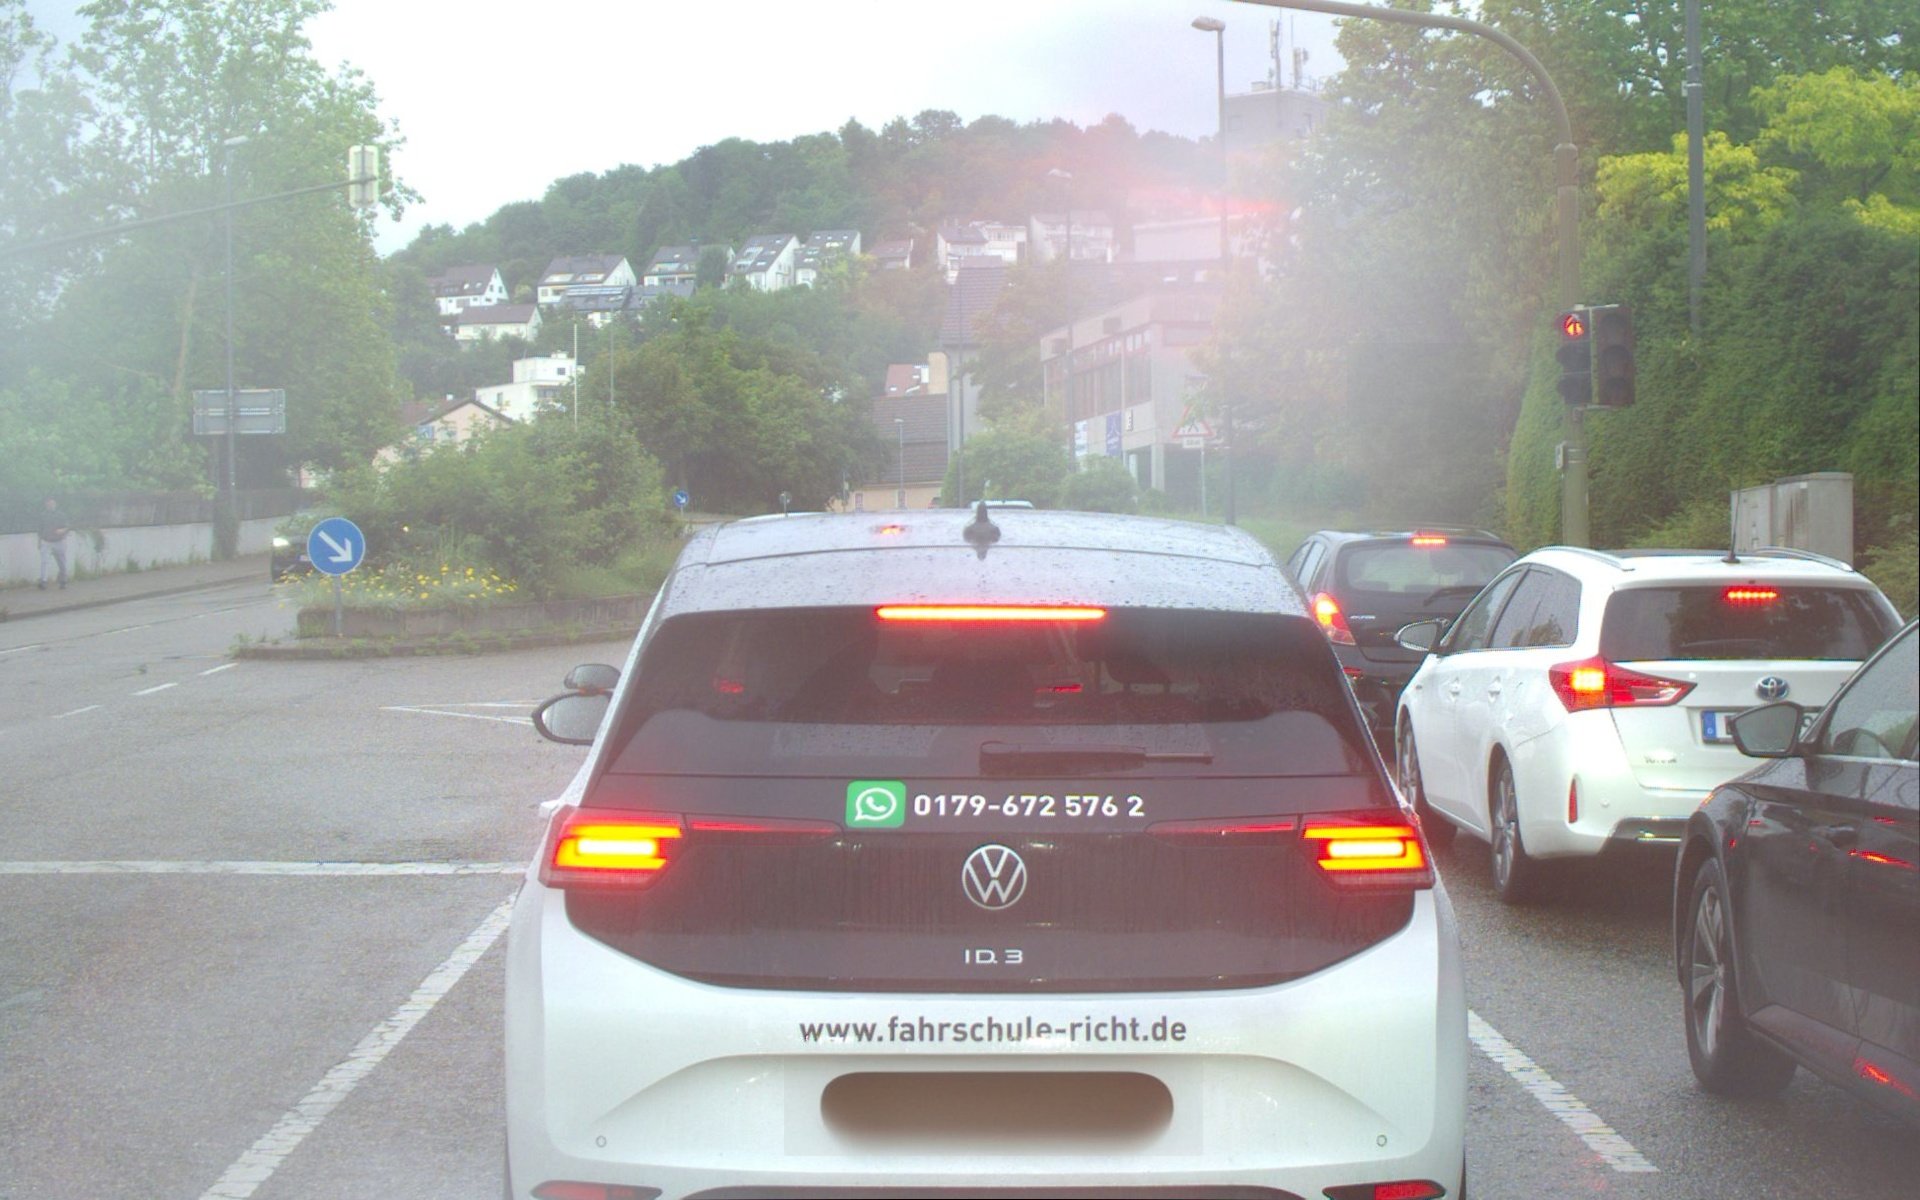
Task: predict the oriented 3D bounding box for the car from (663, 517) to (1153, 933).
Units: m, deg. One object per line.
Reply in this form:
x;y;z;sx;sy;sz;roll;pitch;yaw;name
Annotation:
-0.242;0.427;15.204;1.837;1.549;4.175;1;1;-1;car

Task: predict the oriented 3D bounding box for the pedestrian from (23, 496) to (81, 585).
-16.217;-1.061;61.423;0.760;1.562;0.825;-2;1;-1;pedestrian

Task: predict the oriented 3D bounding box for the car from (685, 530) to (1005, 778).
-0.711;0.276;22.001;1.837;1.395;3.831;1;1;-1;car

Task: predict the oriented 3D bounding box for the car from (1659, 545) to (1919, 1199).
2.874;0.648;7.495;1.838;1.461;4.350;1;1;1;car

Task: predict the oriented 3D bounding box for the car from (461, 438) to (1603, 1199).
0.066;0.511;7.925;1.837;1.623;4.616;1;1;-1;car

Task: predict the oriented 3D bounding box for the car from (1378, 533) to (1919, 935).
3.048;0.469;14.968;1.837;1.461;4.117;1;1;-1;car

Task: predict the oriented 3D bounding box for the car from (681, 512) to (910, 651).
-1.807;-0.229;39.067;1.582;1.462;3.998;-1;1;12;car

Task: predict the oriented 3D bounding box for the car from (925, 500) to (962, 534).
-0.854;-4.179;173.287;1.775;1.576;4.000;-2;1;0;car

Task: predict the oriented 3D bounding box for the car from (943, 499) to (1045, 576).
0.638;-1.242;67.312;1.761;1.413;3.749;-1;2;-3;car

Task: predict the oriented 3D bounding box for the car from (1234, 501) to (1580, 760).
2.939;0.164;23.386;1.775;1.576;4.000;1;1;0;car

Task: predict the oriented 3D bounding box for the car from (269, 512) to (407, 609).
-12.498;-0.802;69.350;1.993;1.798;4.000;-3;1;0;car

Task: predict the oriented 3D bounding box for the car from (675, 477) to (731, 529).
-10.477;-3.934;140.195;1.993;2.007;4.000;1;0;0;car
